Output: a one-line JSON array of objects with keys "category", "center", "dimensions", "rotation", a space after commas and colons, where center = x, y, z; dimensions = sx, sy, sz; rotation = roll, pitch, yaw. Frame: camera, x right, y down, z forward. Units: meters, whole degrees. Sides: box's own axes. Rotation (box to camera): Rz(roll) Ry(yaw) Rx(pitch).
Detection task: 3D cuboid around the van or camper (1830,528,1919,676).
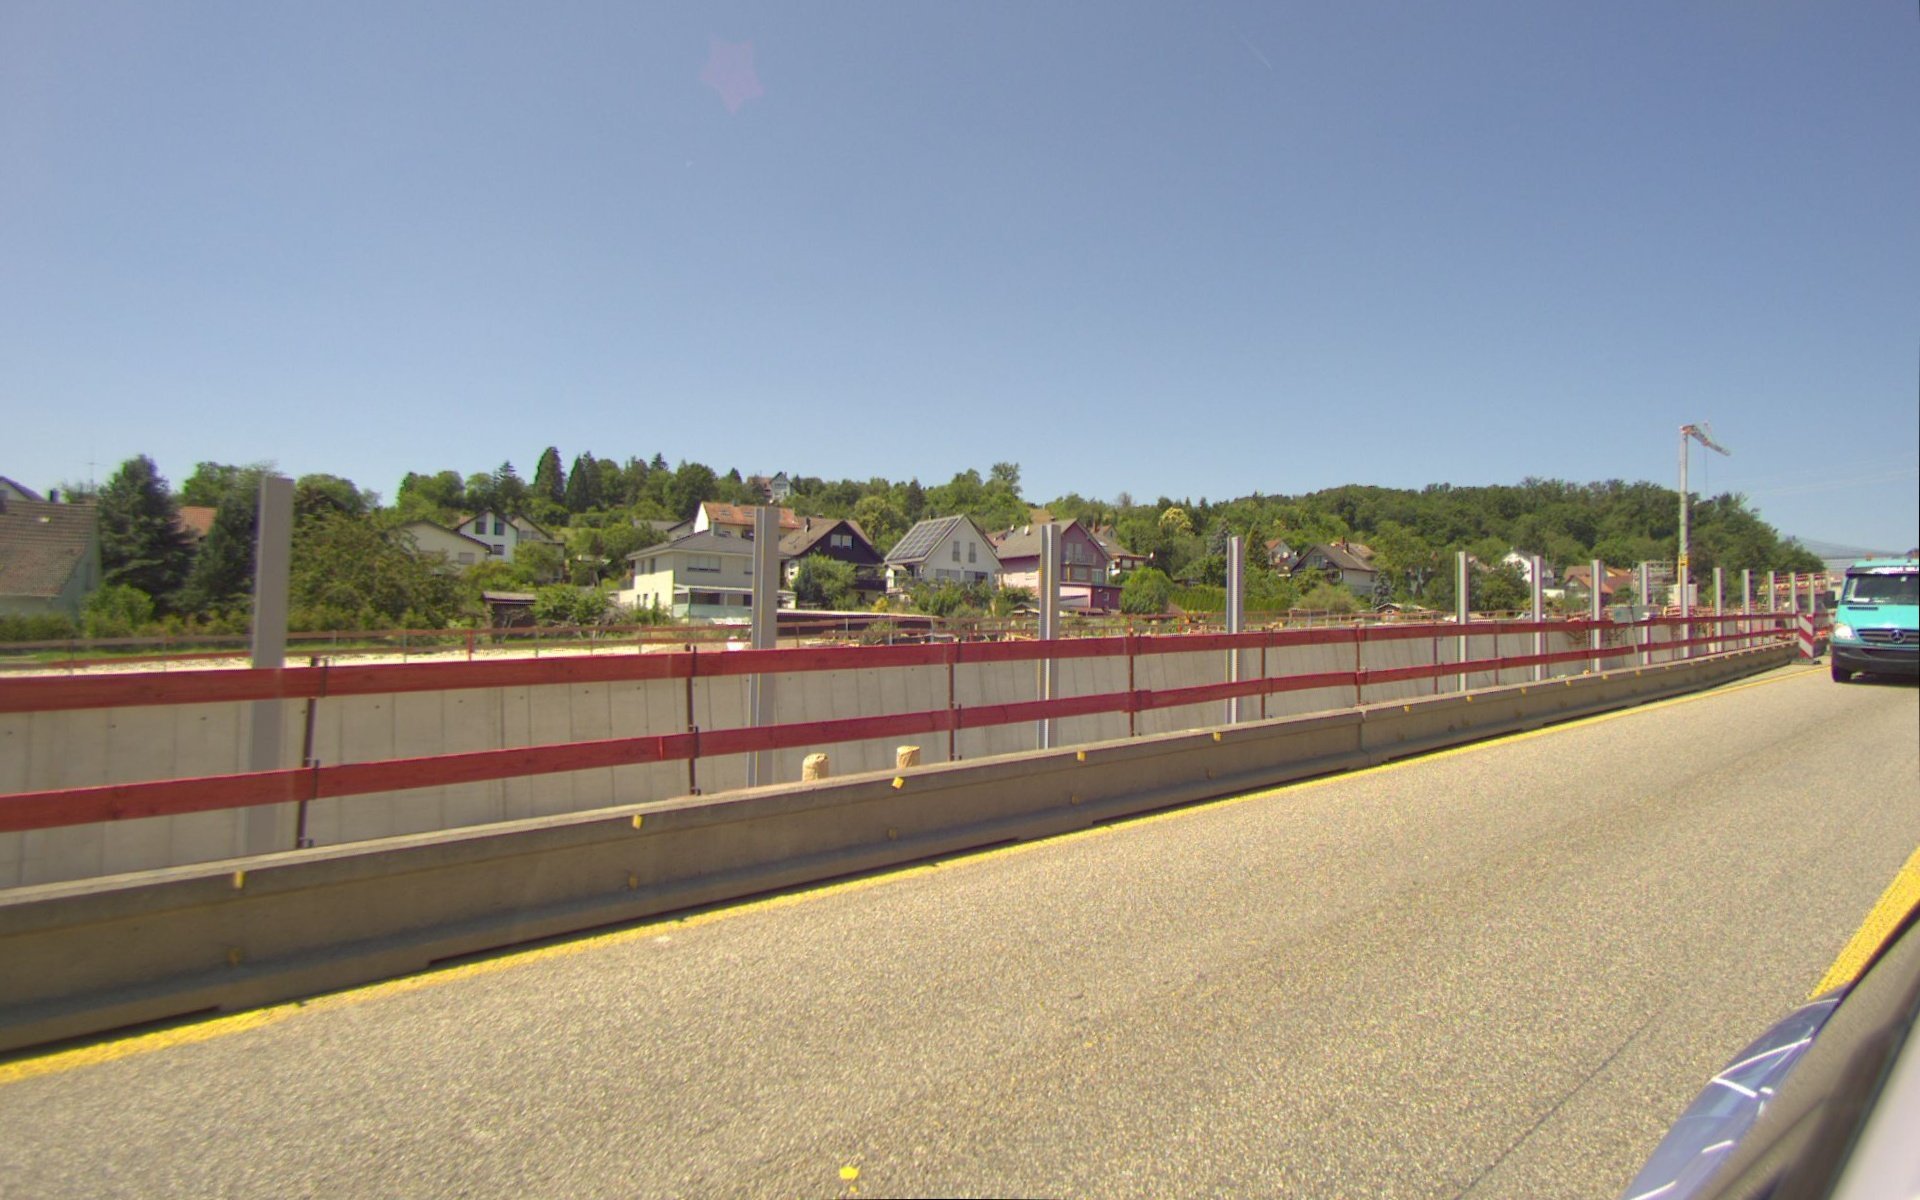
[{"category": "van or camper", "center": [19.073, 0.054, 19.769], "dimensions": [7.536, 2.504, 2.096], "rotation": [0, 0, -41]}]
